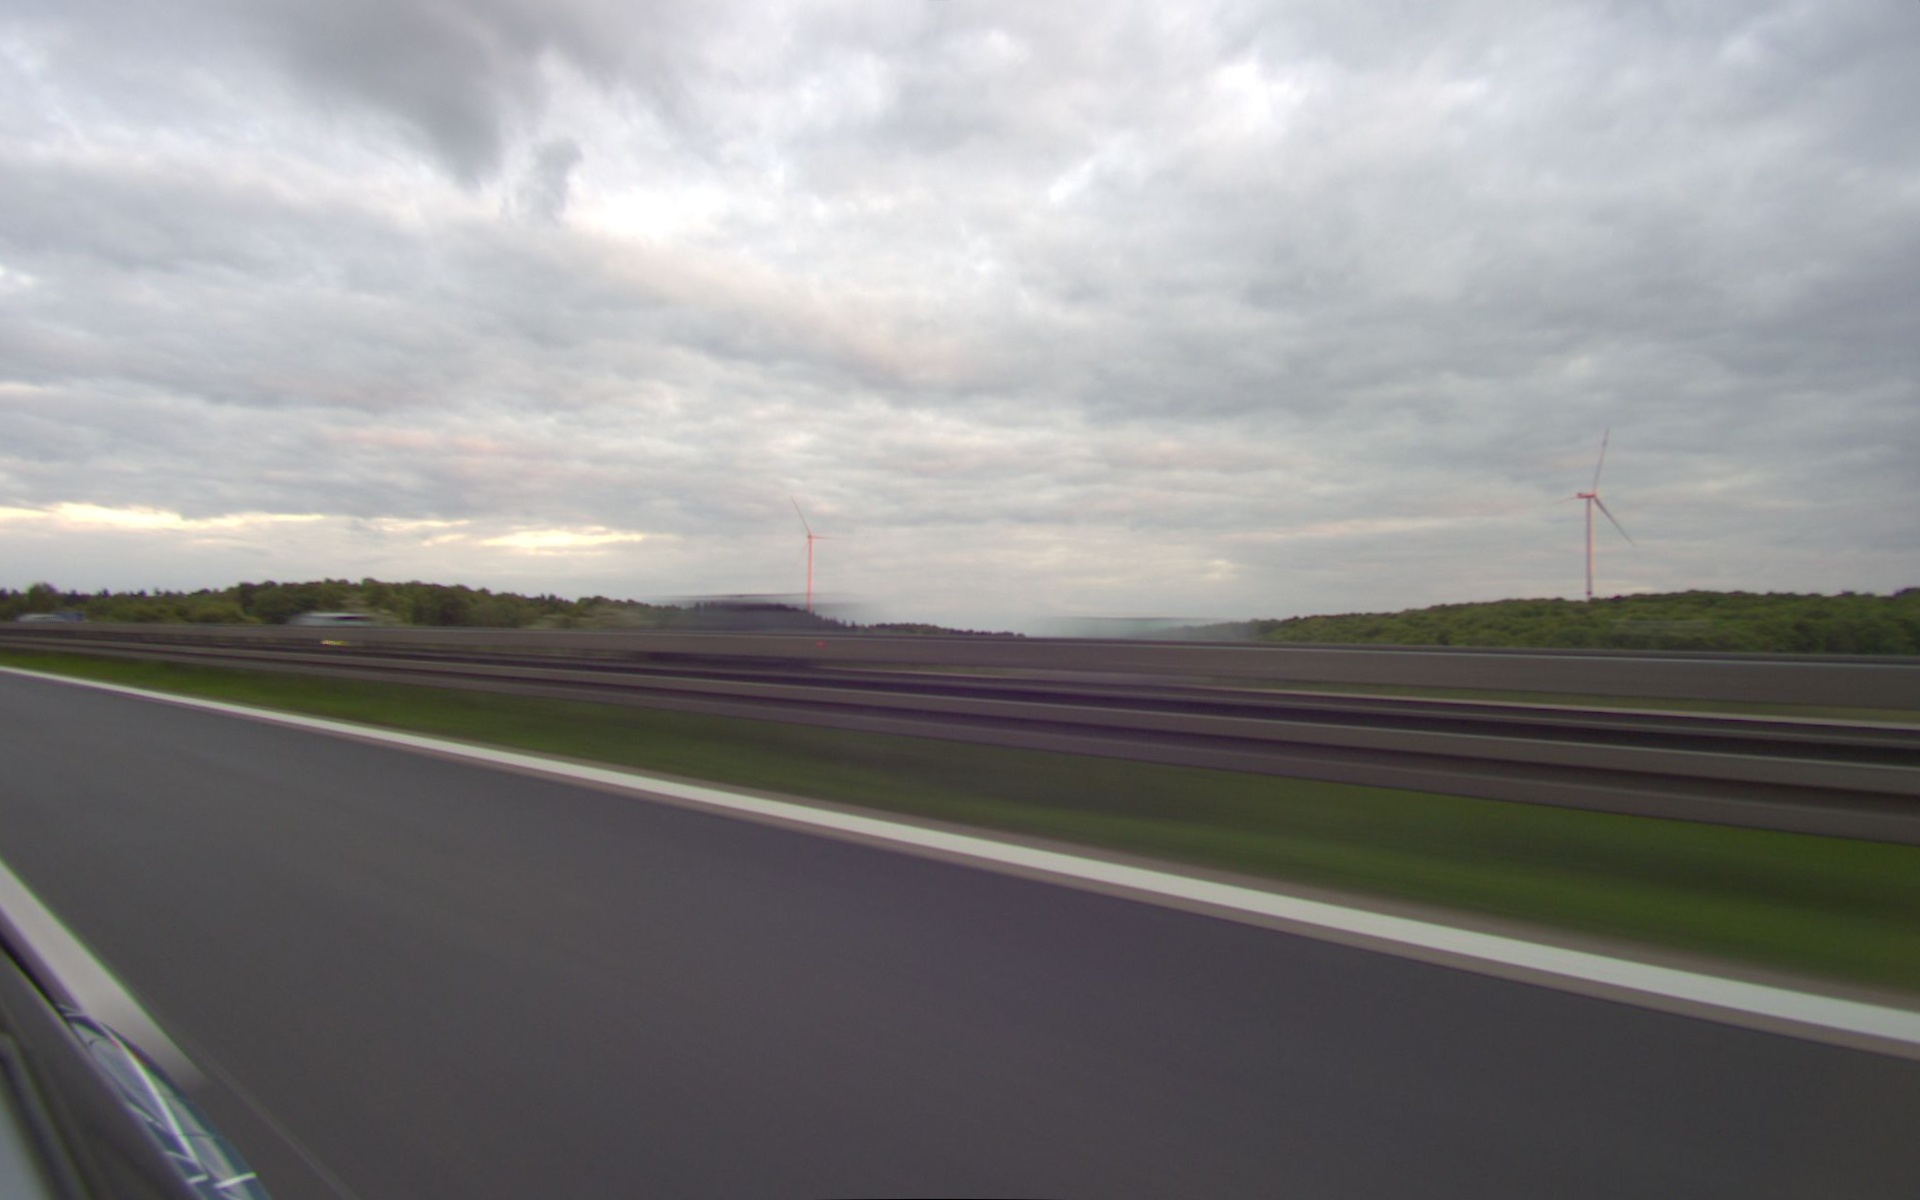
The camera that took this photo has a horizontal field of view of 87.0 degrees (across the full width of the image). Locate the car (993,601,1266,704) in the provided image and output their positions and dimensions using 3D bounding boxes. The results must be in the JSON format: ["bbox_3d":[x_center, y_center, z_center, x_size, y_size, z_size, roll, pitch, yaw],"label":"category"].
[{"bbox_3d":[2.610,0.782,16.126,3.996,1.429,1.637,-2,-1,40],"label":"car"}]

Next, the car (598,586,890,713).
[{"bbox_3d":[-3.549,0.685,16.147,4.764,1.740,1.974,0,0,38],"label":"car"}]

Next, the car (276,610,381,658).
[{"bbox_3d":[-20.516,1.099,32.820,3.994,1.495,1.594,-1,-2,38],"label":"car"}]
